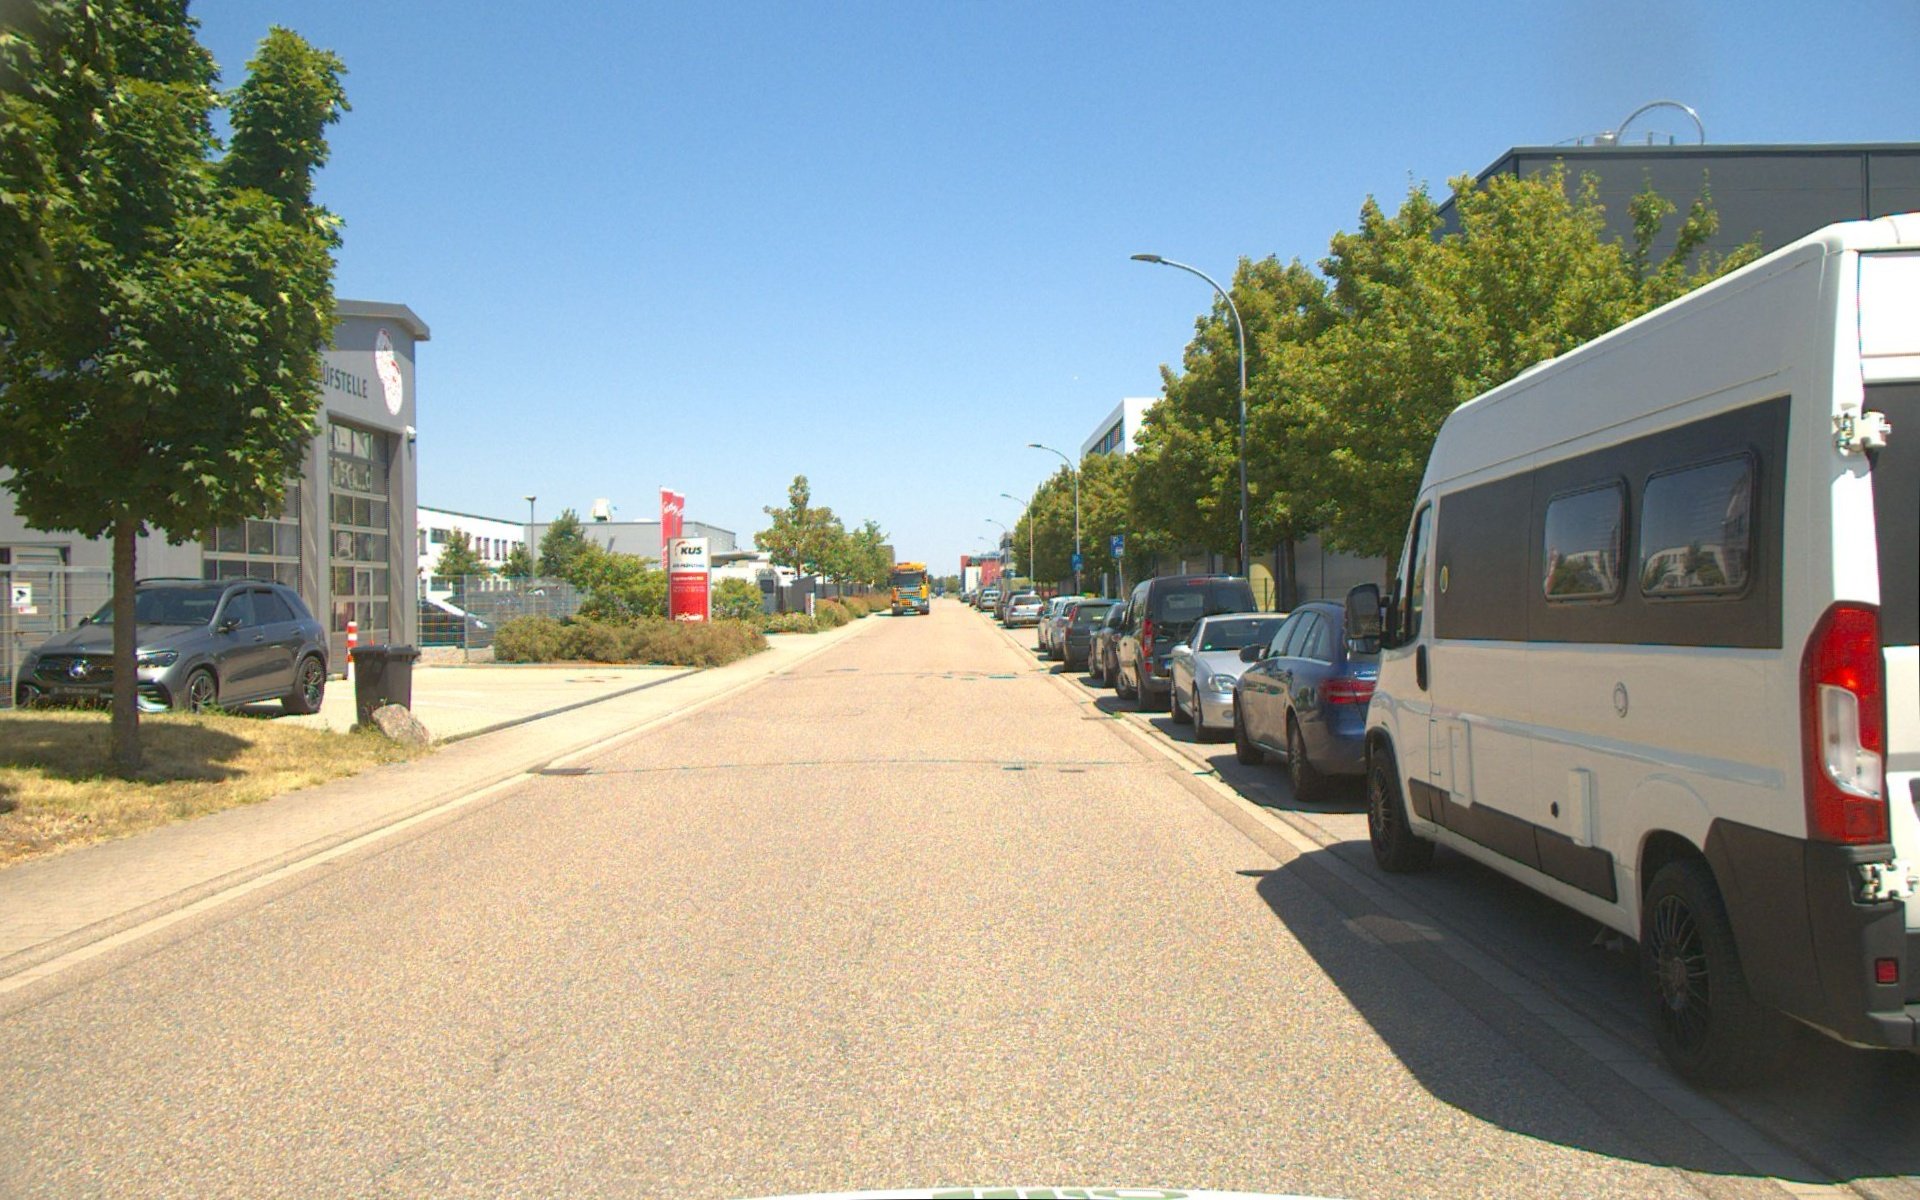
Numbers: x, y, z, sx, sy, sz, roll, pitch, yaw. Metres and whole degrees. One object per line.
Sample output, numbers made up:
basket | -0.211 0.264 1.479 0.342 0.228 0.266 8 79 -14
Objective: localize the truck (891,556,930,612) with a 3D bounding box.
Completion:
truck | -3.346 -1.124 112.980 2.399 3.574 8.271 -2 1 -1

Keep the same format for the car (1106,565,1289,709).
car | 3.339 0.495 24.115 1.953 1.857 4.353 -1 0 -1

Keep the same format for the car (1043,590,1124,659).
car | 3.108 0.576 42.391 1.712 1.589 4.506 -2 1 0

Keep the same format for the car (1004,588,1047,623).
car | 2.877 0.233 73.311 1.683 1.475 3.645 -2 0 -1

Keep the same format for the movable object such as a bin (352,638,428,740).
movable object such as a bin | -6.379 0.986 18.544 0.567 1.084 0.765 1 0 -1

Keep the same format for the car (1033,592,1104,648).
car | 3.113 0.559 47.972 1.603 1.494 3.744 -2 1 -3

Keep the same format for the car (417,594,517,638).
car | -22.070 0.706 74.161 3.906 1.847 1.916 -1 0 -1

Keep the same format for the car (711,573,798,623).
car | -11.348 -0.098 91.432 4.622 2.631 1.998 -1 0 -5

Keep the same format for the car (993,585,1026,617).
car | 2.720 0.048 91.311 1.686 1.724 3.984 -1 0 0

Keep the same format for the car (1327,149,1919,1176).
car | 3.338 0.117 7.160 2.220 2.541 6.153 -2 0 1

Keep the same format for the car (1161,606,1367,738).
car | 3.378 0.763 19.067 1.676 1.310 4.115 -1 -1 1

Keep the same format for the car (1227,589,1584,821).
car | 3.403 0.706 13.542 1.791 1.519 4.479 -2 0 1

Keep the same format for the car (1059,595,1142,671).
car | 3.095 0.687 36.635 1.673 1.531 4.708 -1 0 4

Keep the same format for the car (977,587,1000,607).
car | 2.071 -0.232 120.334 1.552 1.434 3.500 -1 0 -1

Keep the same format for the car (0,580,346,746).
car | -9.601 0.653 20.464 1.952 1.765 4.915 1 1 3

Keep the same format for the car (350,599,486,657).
car | -15.619 0.791 47.748 3.432 1.579 1.556 -1 0 -6

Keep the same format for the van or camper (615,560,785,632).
van or camper | -11.722 -0.187 75.108 7.235 3.090 2.789 -1 0 -2

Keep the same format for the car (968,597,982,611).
car | 1.650 0.427 184.888 1.465 1.434 3.500 -1 0 -1

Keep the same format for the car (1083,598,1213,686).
car | 3.394 0.730 30.613 1.813 1.456 4.712 -1 0 0
